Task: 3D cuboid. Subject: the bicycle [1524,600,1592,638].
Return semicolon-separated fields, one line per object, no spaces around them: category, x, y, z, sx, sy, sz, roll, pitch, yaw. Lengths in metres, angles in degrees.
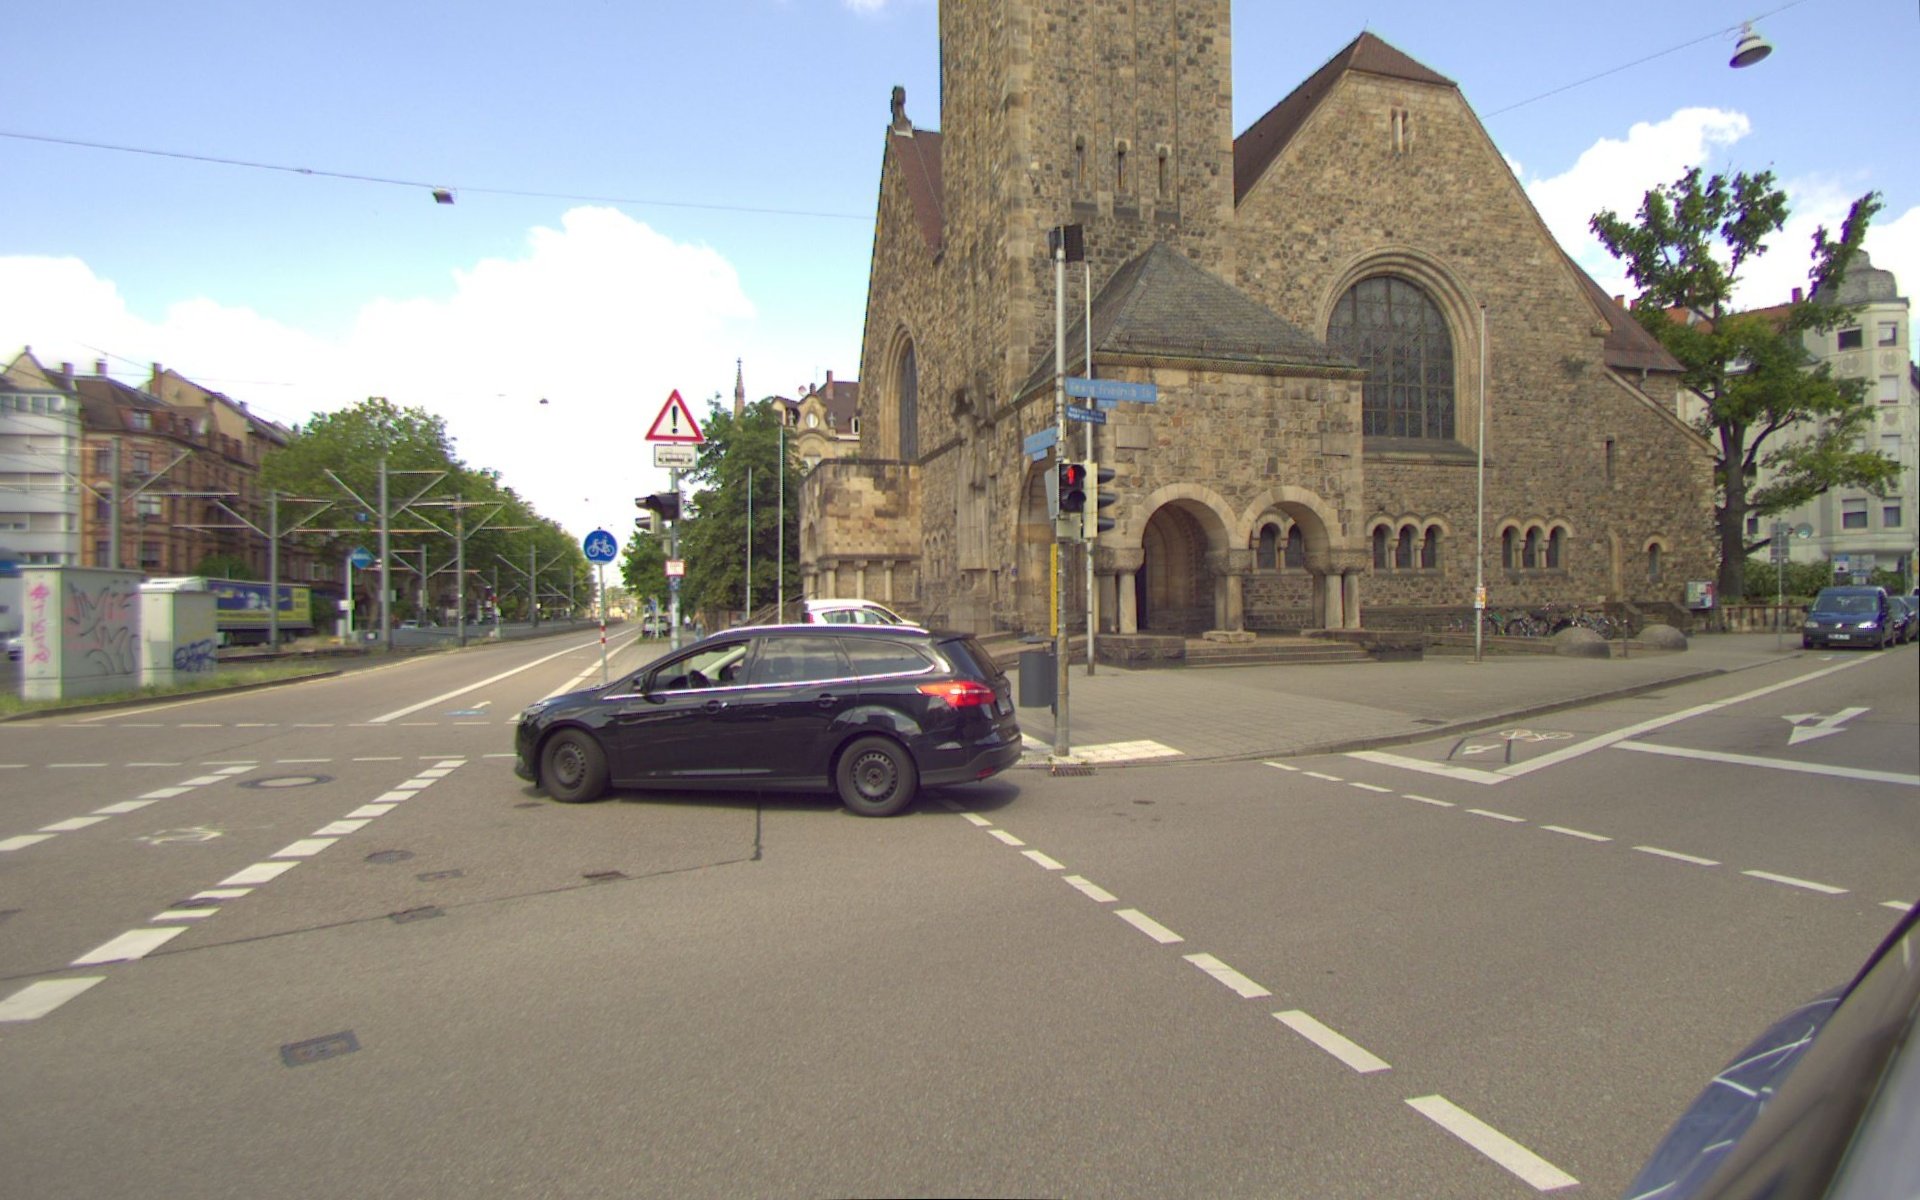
bicycle;19.257;0.596;32.632;0.574;1.126;1.944;-1;2;-20

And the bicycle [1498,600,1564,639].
bicycle;18.285;0.618;32.465;0.574;1.126;1.944;-1;2;-20

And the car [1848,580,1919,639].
car;30.118;0.290;32.610;3.929;1.814;1.681;0;-1;-40

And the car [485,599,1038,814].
car;-1.589;0.850;8.691;4.318;1.555;1.778;-1;-3;12

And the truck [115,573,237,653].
truck;-44.295;0.702;57.452;2.857;4.202;6.602;-1;0;-11

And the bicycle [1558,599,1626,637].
bicycle;20.681;0.564;33.175;0.574;1.126;1.944;-1;2;-20

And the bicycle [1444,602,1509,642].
bicycle;16.169;0.665;31.717;0.574;1.126;1.944;-1;2;-20

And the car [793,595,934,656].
car;-3.127;0.823;32.531;4.214;1.878;2.003;1;-2;-16

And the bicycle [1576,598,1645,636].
bicycle;21.439;0.548;33.390;0.574;1.126;1.944;-1;2;-20

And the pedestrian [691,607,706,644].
pedestrian;-12.051;1.177;46.690;0.645;1.686;0.847;-1;-1;-14

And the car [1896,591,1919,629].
car;38.283;0.360;39.822;3.731;1.465;1.682;0;-1;-40

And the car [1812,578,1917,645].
car;26.226;0.316;29.292;4.072;1.814;1.681;0;-1;-40

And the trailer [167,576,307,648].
trailer;-45.846;0.695;64.772;2.857;4.129;11.671;-1;0;-12

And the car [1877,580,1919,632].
car;34.771;0.213;36.725;3.929;1.814;1.681;0;-1;-40

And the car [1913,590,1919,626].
car;42.150;0.307;43.222;3.822;1.515;1.681;0;-1;-40

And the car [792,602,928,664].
car;-2.891;0.958;29.001;3.561;1.700;1.822;1;-3;-19

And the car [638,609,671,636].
car;-18.284;1.327;60.693;1.752;1.514;3.844;-1;-1;-16

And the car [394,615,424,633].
car;-55.748;2.394;102.448;1.766;1.651;4.008;-1;0;-15

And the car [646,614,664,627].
car;-28.947;1.943;96.140;1.621;1.249;3.069;-1;-1;-16

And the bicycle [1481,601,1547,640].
bicycle;17.618;0.633;32.247;0.574;1.126;1.944;-1;2;-20

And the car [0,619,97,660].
car;-41.569;1.735;46.086;1.815;1.727;4.142;-1;-1;-15
